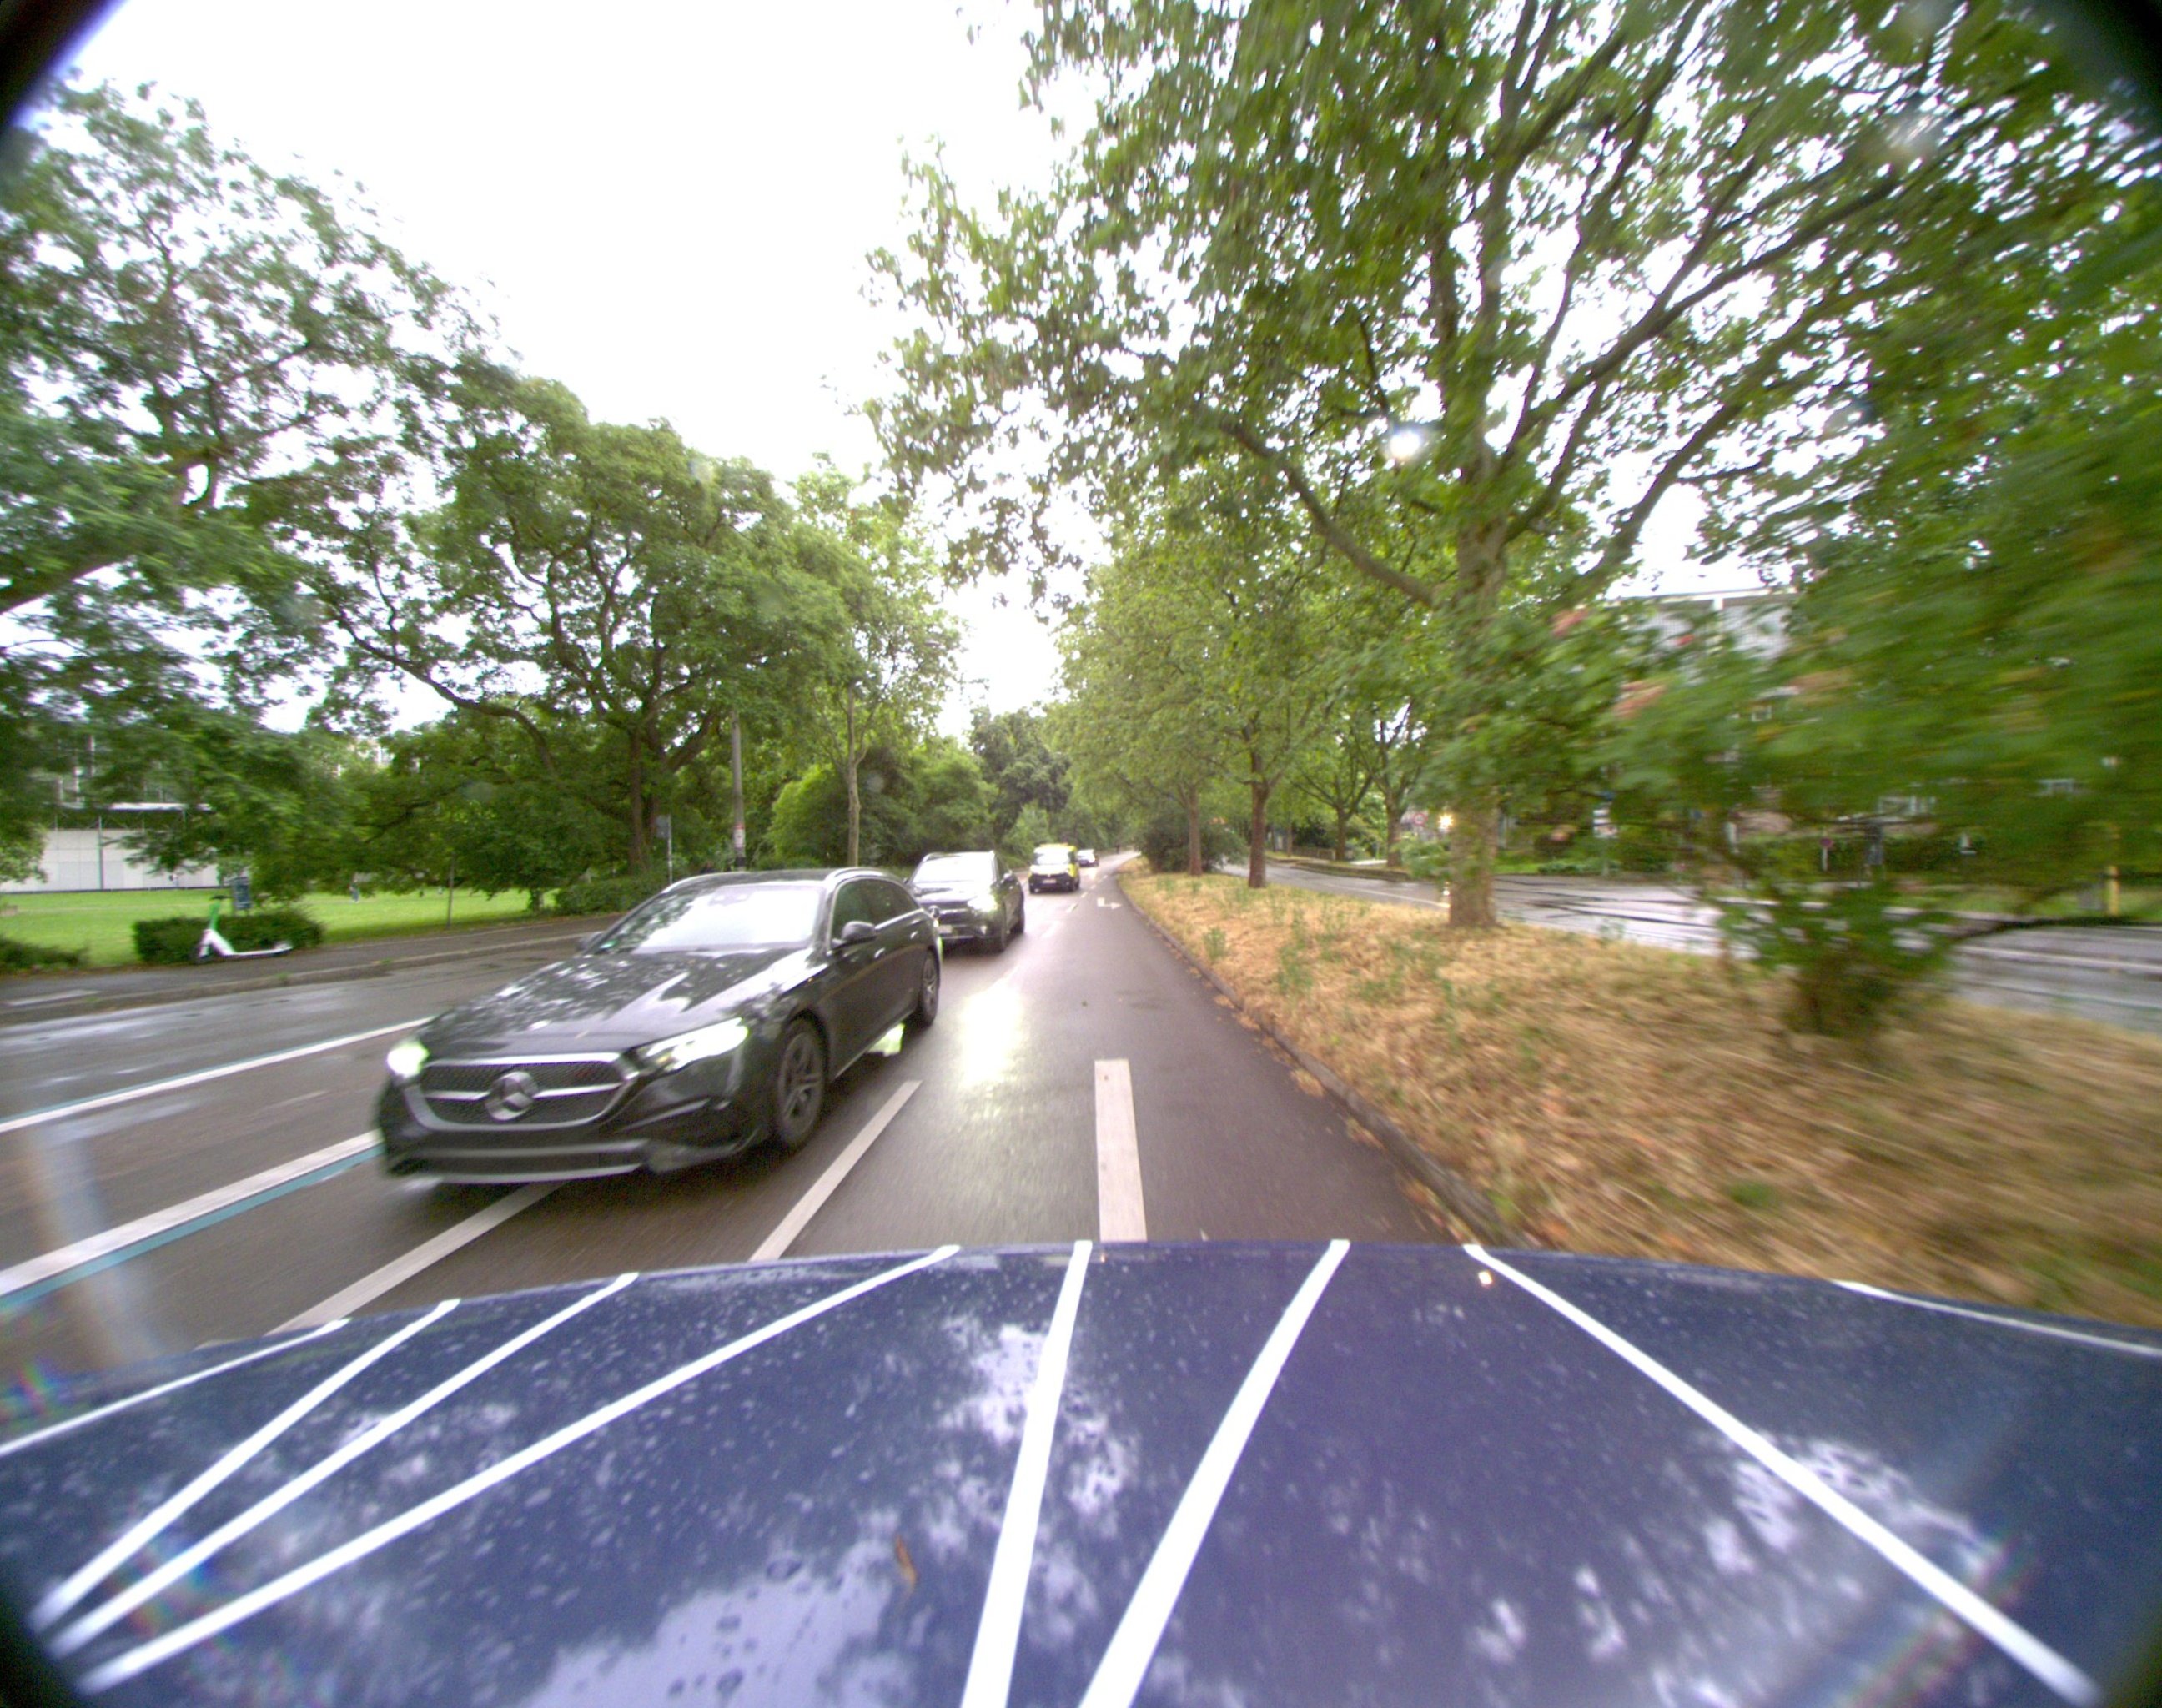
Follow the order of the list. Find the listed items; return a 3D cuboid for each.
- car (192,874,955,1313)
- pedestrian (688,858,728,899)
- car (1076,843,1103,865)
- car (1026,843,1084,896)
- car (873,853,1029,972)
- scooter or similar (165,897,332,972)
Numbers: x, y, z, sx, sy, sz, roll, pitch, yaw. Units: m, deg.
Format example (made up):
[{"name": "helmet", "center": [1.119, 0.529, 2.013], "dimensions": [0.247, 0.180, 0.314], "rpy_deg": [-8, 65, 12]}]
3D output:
[{"name": "car", "center": [-2.354, 0.991, 5.362], "dimensions": [1.884, 1.437, 4.930], "rpy_deg": [-3, 0, 2]}, {"name": "pedestrian", "center": [-15.477, 1.003, 31.530], "dimensions": [1.068, 1.597, 1.060], "rpy_deg": [-1, 3, 42]}, {"name": "car", "center": [0.748, -0.005, 64.065], "dimensions": [1.906, 1.767, 4.001], "rpy_deg": [-2, 0, 5]}, {"name": "car", "center": [-0.961, 0.567, 31.019], "dimensions": [1.884, 1.865, 4.742], "rpy_deg": [-3, 0, 3]}, {"name": "car", "center": [-2.064, 0.860, 13.438], "dimensions": [1.833, 1.599, 4.576], "rpy_deg": [-3, 1, 1]}, {"name": "scooter or similar", "center": [-14.529, 1.374, 13.336], "dimensions": [0.557, 1.095, 1.894], "rpy_deg": [2, 1, 22]}]
